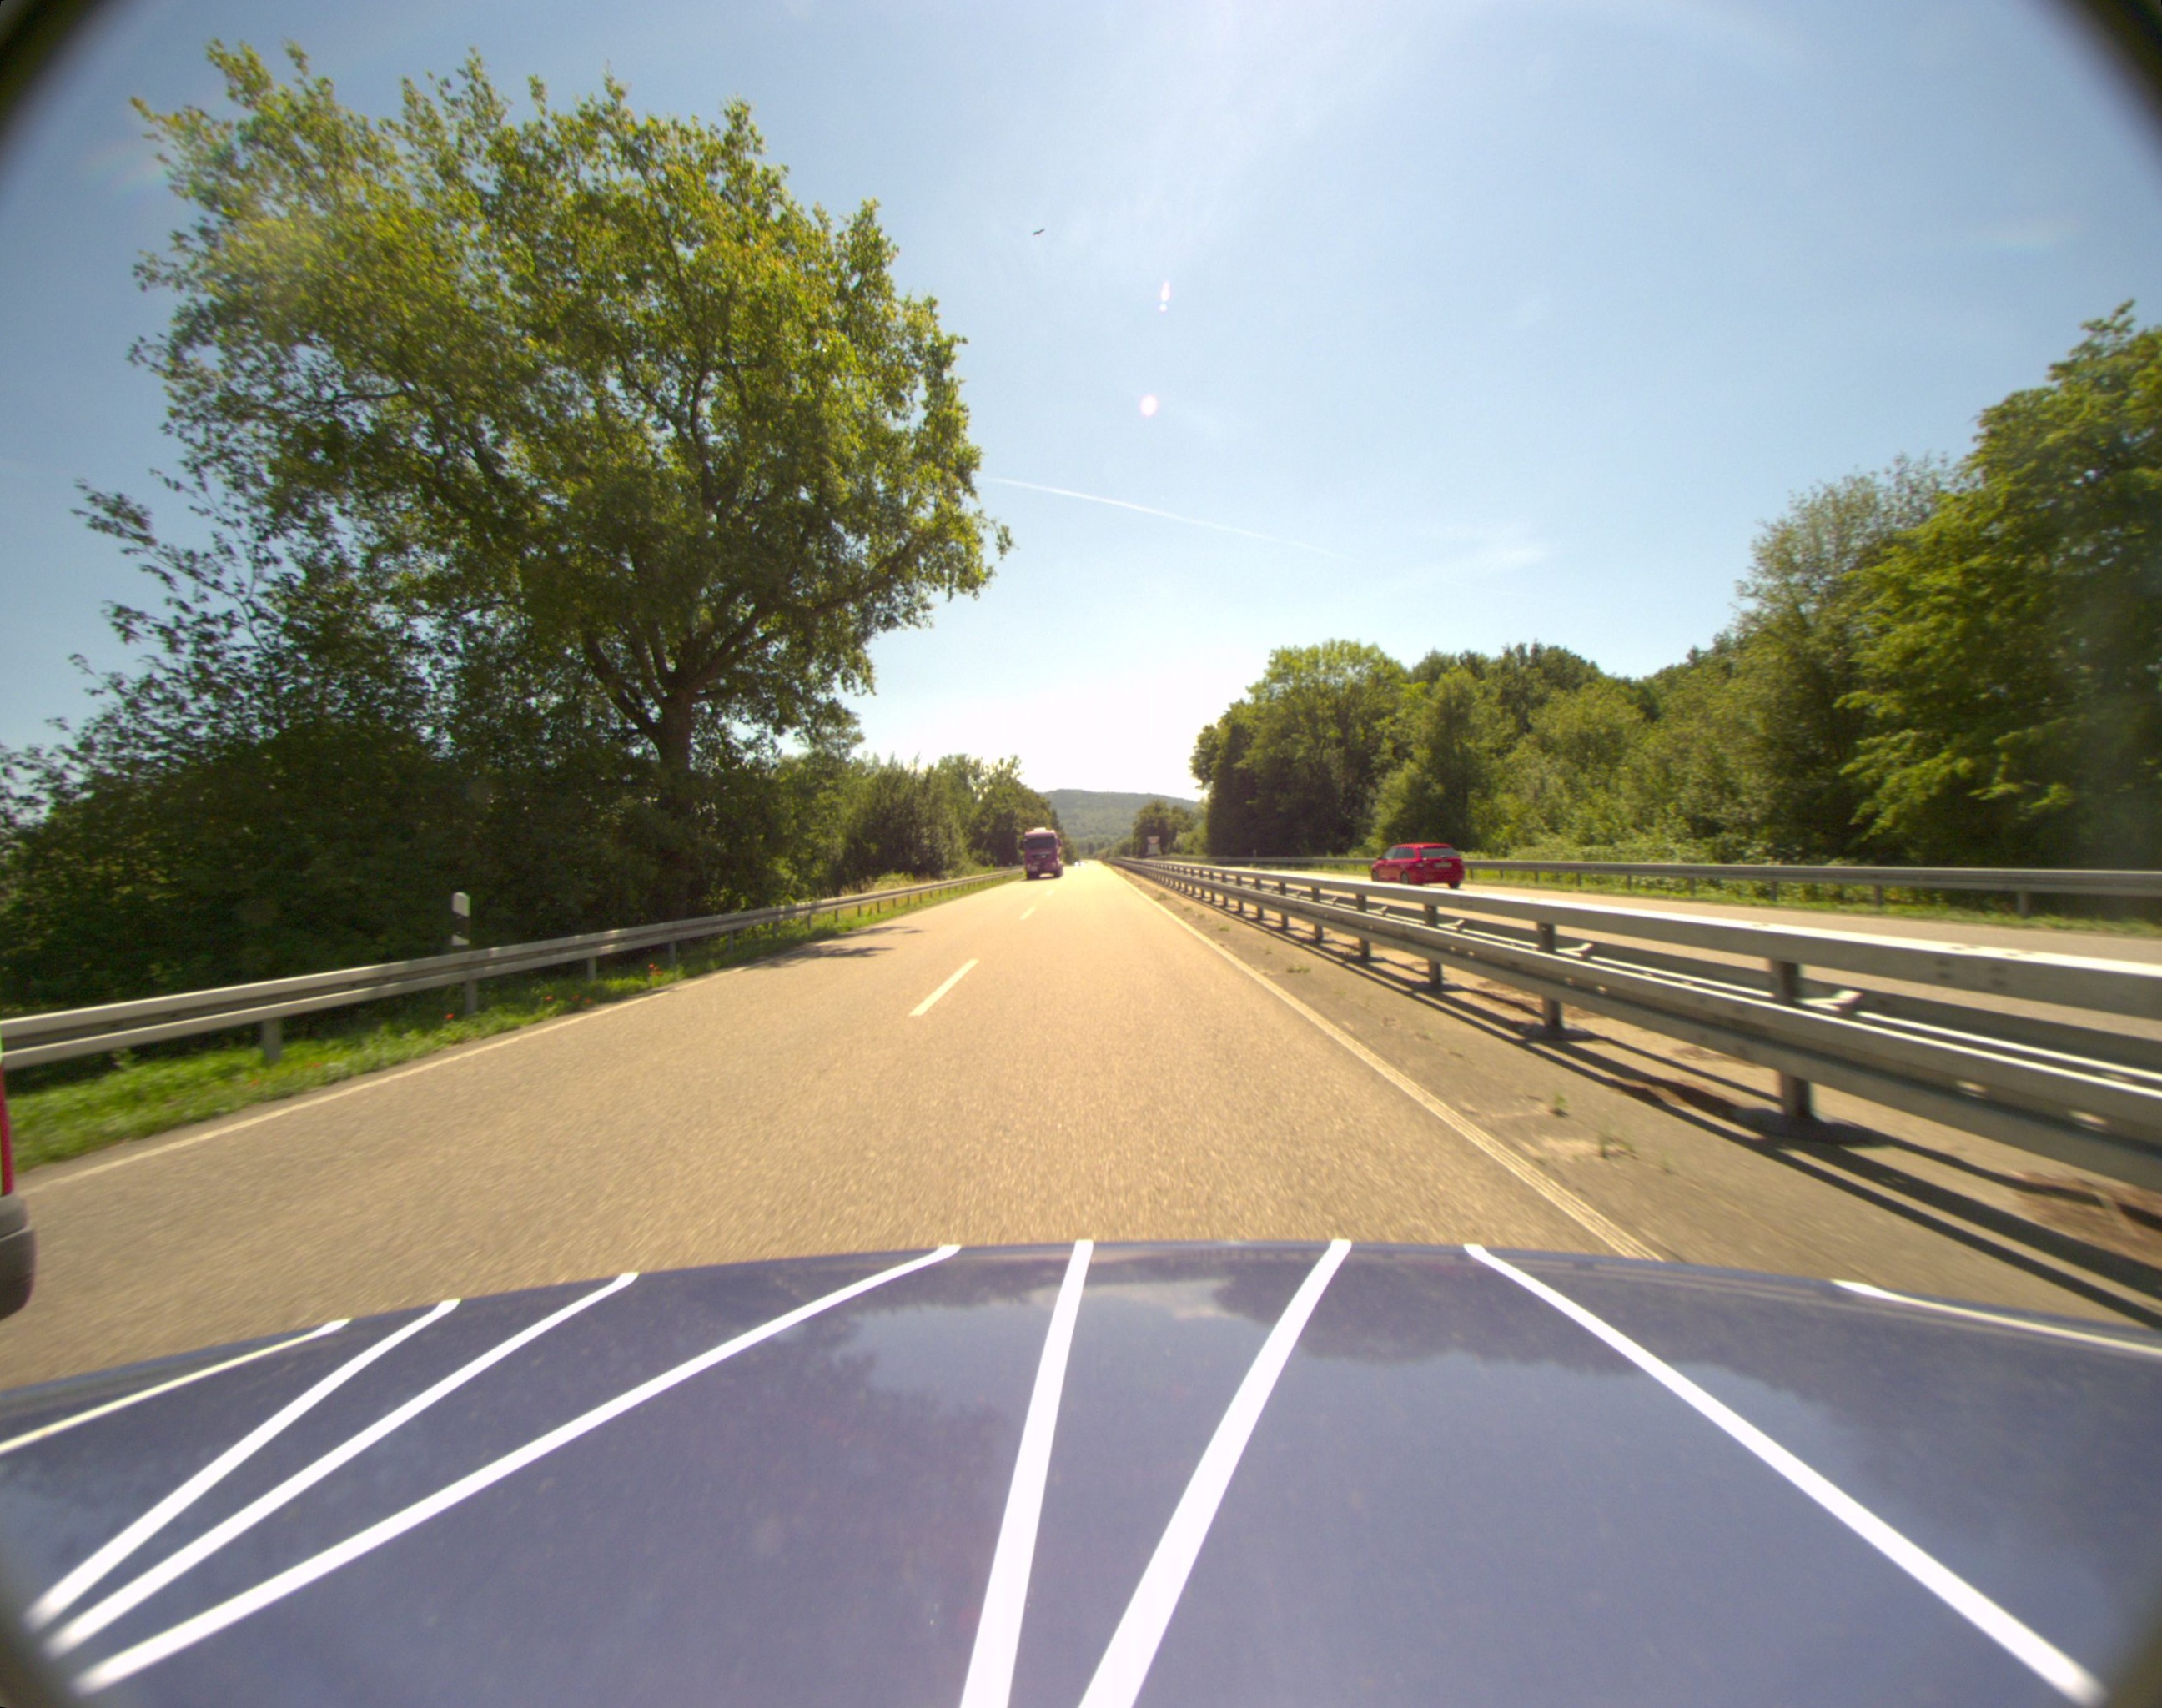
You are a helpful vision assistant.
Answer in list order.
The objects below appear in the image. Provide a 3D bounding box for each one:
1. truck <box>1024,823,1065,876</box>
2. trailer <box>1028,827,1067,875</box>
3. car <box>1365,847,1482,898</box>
[{"bbox_3d":[-2.733,-0.265,58.814,2.605,3.669,5.940,-4,-1,0],"label":"truck"},{"bbox_3d":[-2.703,-0.158,63.361,2.605,3.607,8.615,-4,-1,0],"label":"trailer"},{"bbox_3d":[10.767,0.527,24.282,1.780,1.411,4.575,-2,0,2],"label":"car"}]
